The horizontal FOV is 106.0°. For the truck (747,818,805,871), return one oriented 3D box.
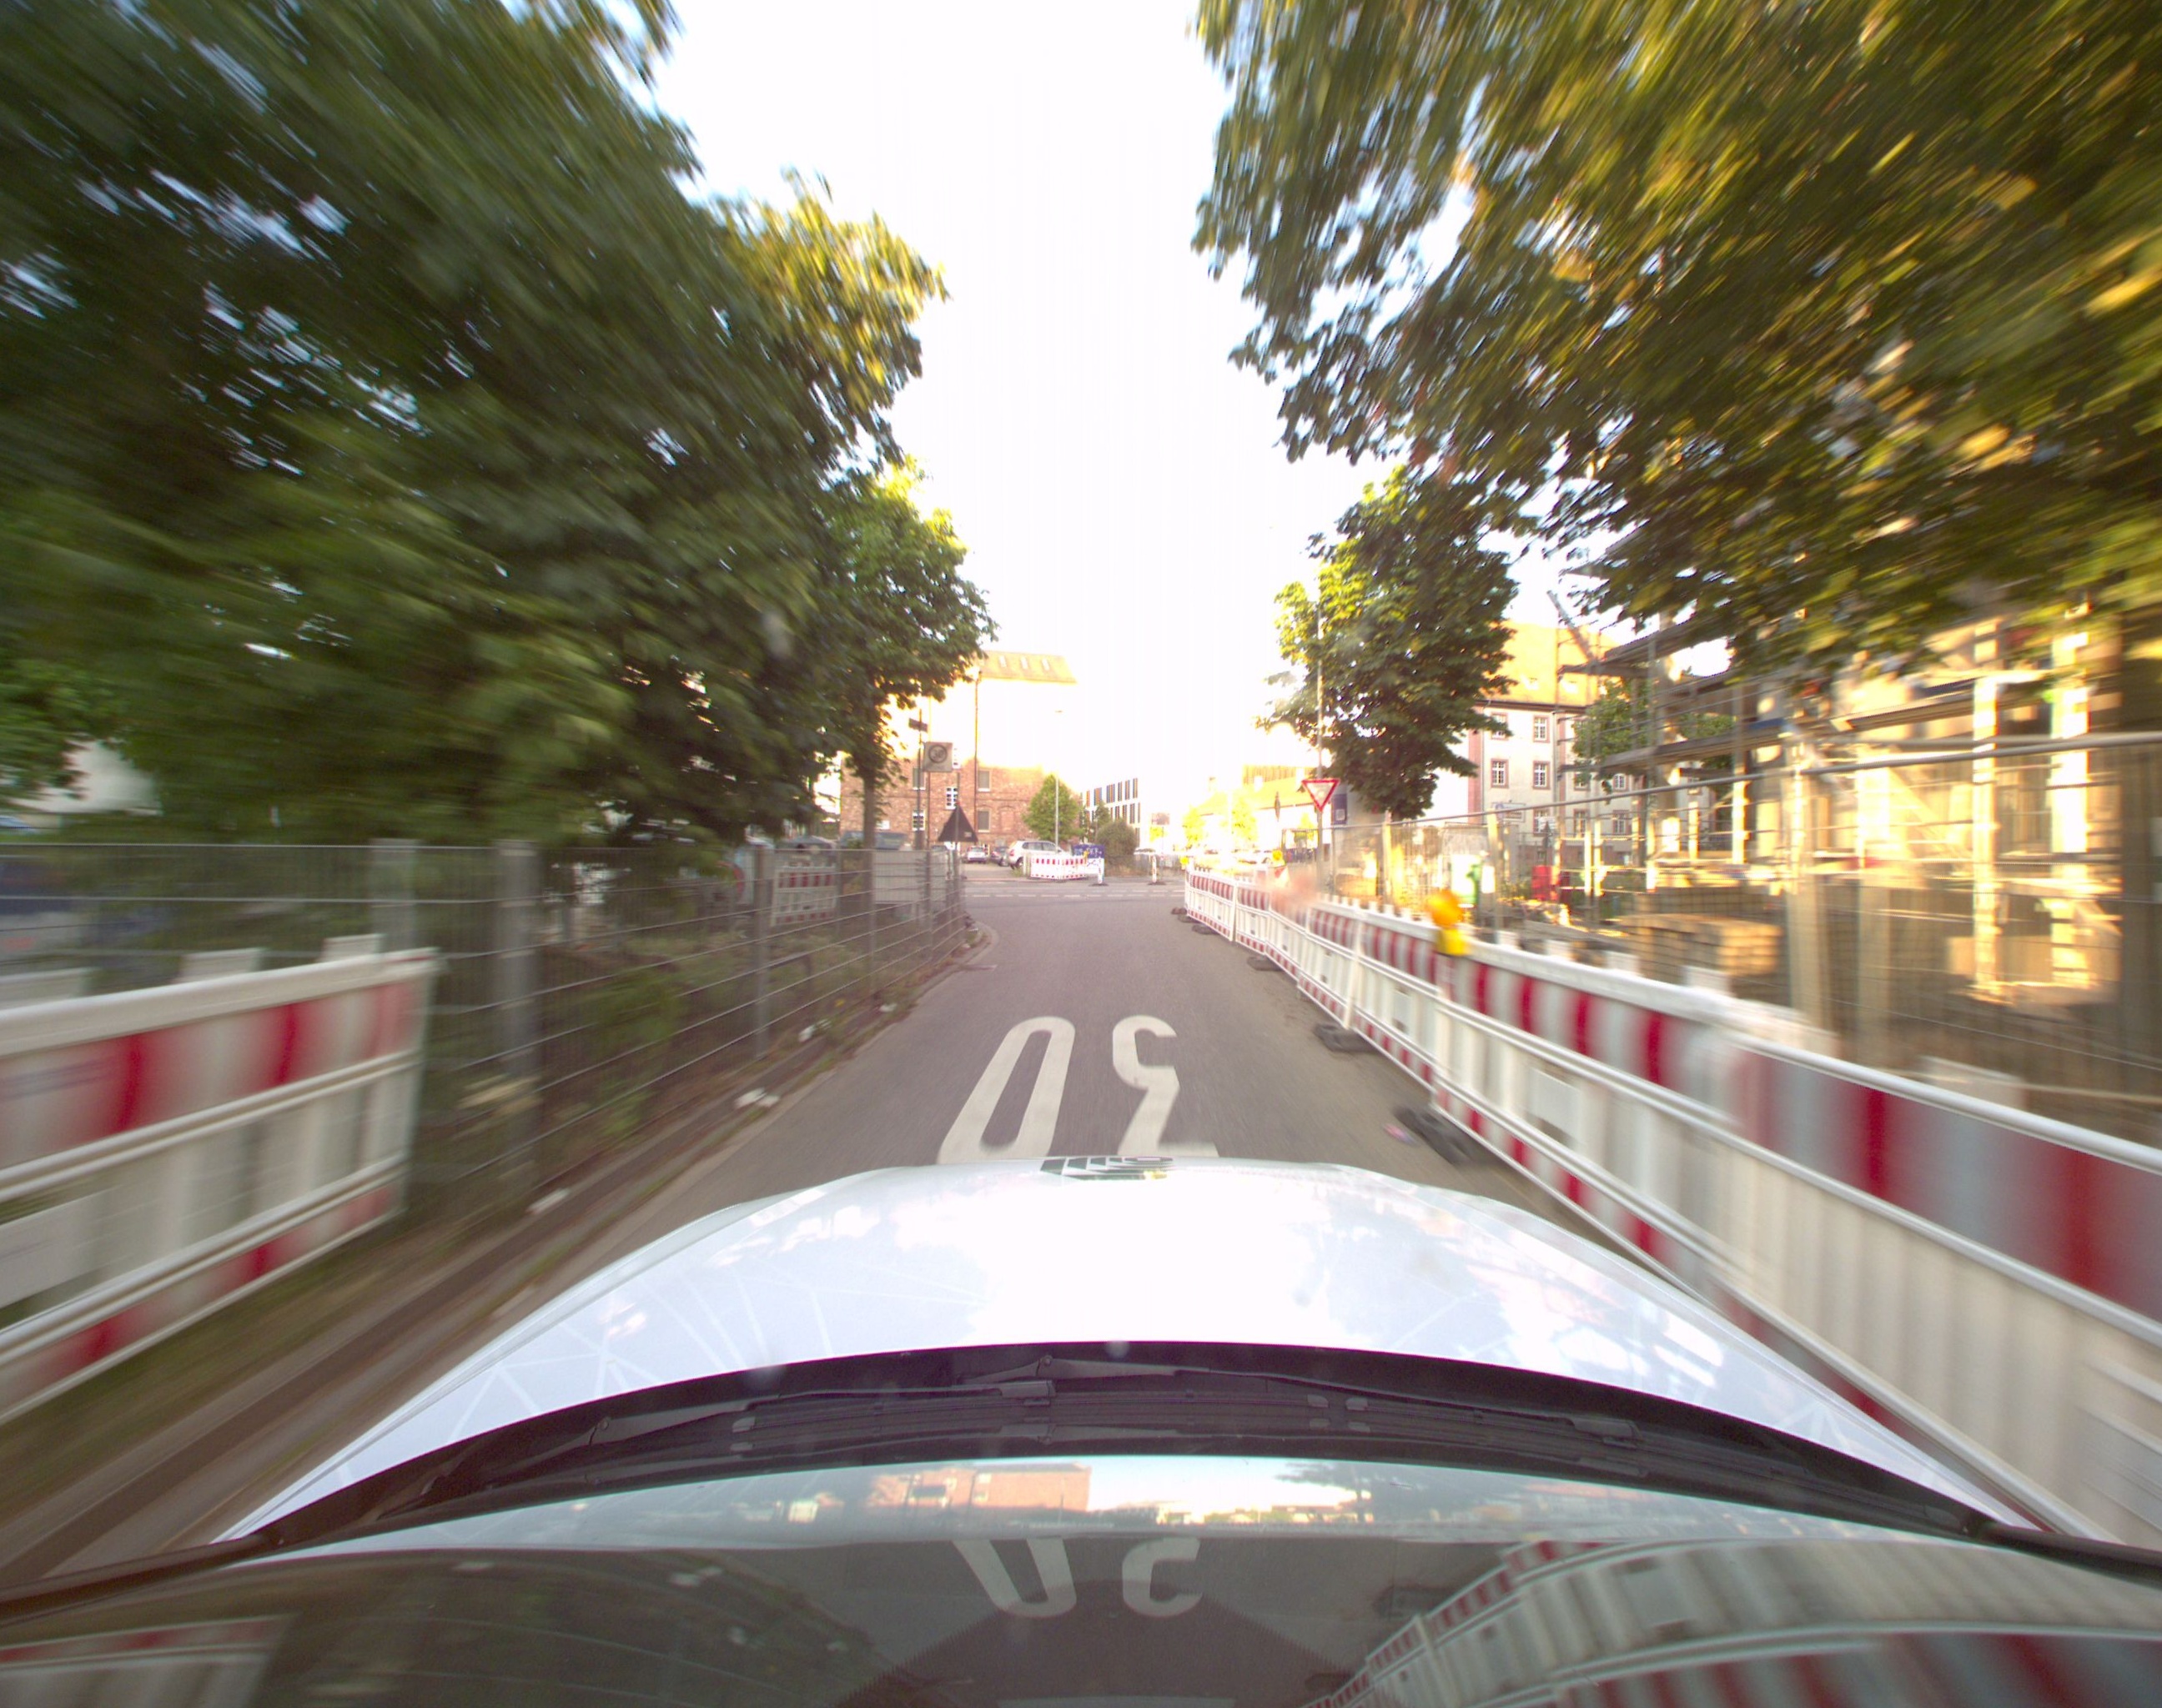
[{"bbox_3d":[-15.914,-0.468,42.770,2.337,2.617,4.948,0,0,-14],"label":"truck"}]

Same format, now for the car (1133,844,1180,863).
[{"bbox_3d":[6.657,-0.045,71.694,3.752,1.603,1.676,0,0,-19],"label":"car"}]

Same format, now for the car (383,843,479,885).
[{"bbox_3d":[-30.141,0.426,37.942,1.997,1.826,4.204,0,0,-16],"label":"car"}]

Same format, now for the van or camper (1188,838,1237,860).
[{"bbox_3d":[13.988,-0.508,86.840,4.977,2.240,1.676,0,0,-19],"label":"van or camper"}]

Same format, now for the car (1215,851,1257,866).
[{"bbox_3d":[15.132,0.439,79.516,3.752,1.445,1.676,0,0,-19],"label":"car"}]

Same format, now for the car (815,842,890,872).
[{"bbox_3d":[-11.764,0.141,42.128,3.636,1.503,1.629,0,0,-14],"label":"car"}]

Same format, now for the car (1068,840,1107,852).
[{"bbox_3d":[0.747,-0.843,90.620,3.996,1.313,1.867,0,0,-17],"label":"car"}]

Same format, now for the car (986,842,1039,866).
[{"bbox_3d":[-4.842,-0.015,57.515,3.483,1.708,1.659,0,0,-17],"label":"car"}]

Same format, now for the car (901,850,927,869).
[{"bbox_3d":[-13.957,0.408,67.896,1.900,1.537,4.158,0,0,-15],"label":"car"}]

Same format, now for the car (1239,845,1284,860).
[{"bbox_3d":[16.833,-0.134,75.935,3.752,1.445,1.676,0,0,-19],"label":"car"}]

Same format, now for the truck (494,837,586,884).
[{"bbox_3d":[-25.554,0.306,38.677,2.107,2.090,4.494,0,0,-12],"label":"truck"}]

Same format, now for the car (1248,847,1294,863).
[{"bbox_3d":[17.115,0.098,73.340,3.752,1.445,1.676,0,0,-19],"label":"car"}]

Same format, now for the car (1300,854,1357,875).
[{"bbox_3d":[19.571,0.808,64.467,3.999,1.573,1.987,0,0,-19],"label":"car"}]

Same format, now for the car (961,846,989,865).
[{"bbox_3d":[-9.038,0.125,69.166,1.900,1.537,4.158,0,0,-15],"label":"car"}]

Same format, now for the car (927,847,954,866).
[{"bbox_3d":[-11.850,0.211,68.516,1.900,1.537,4.158,0,0,-15],"label":"car"}]

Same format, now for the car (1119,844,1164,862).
[{"bbox_3d":[5.529,-0.076,74.393,3.752,1.603,1.676,0,0,-19],"label":"car"}]

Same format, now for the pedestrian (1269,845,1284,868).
[{"bbox_3d":[14.474,0.197,60.339,0.751,1.642,1.009,0,-1,-15],"label":"pedestrian"}]

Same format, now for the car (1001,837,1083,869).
[{"bbox_3d":[-2.151,-0.045,44.663,4.279,1.708,1.693,0,0,-17],"label":"car"}]
